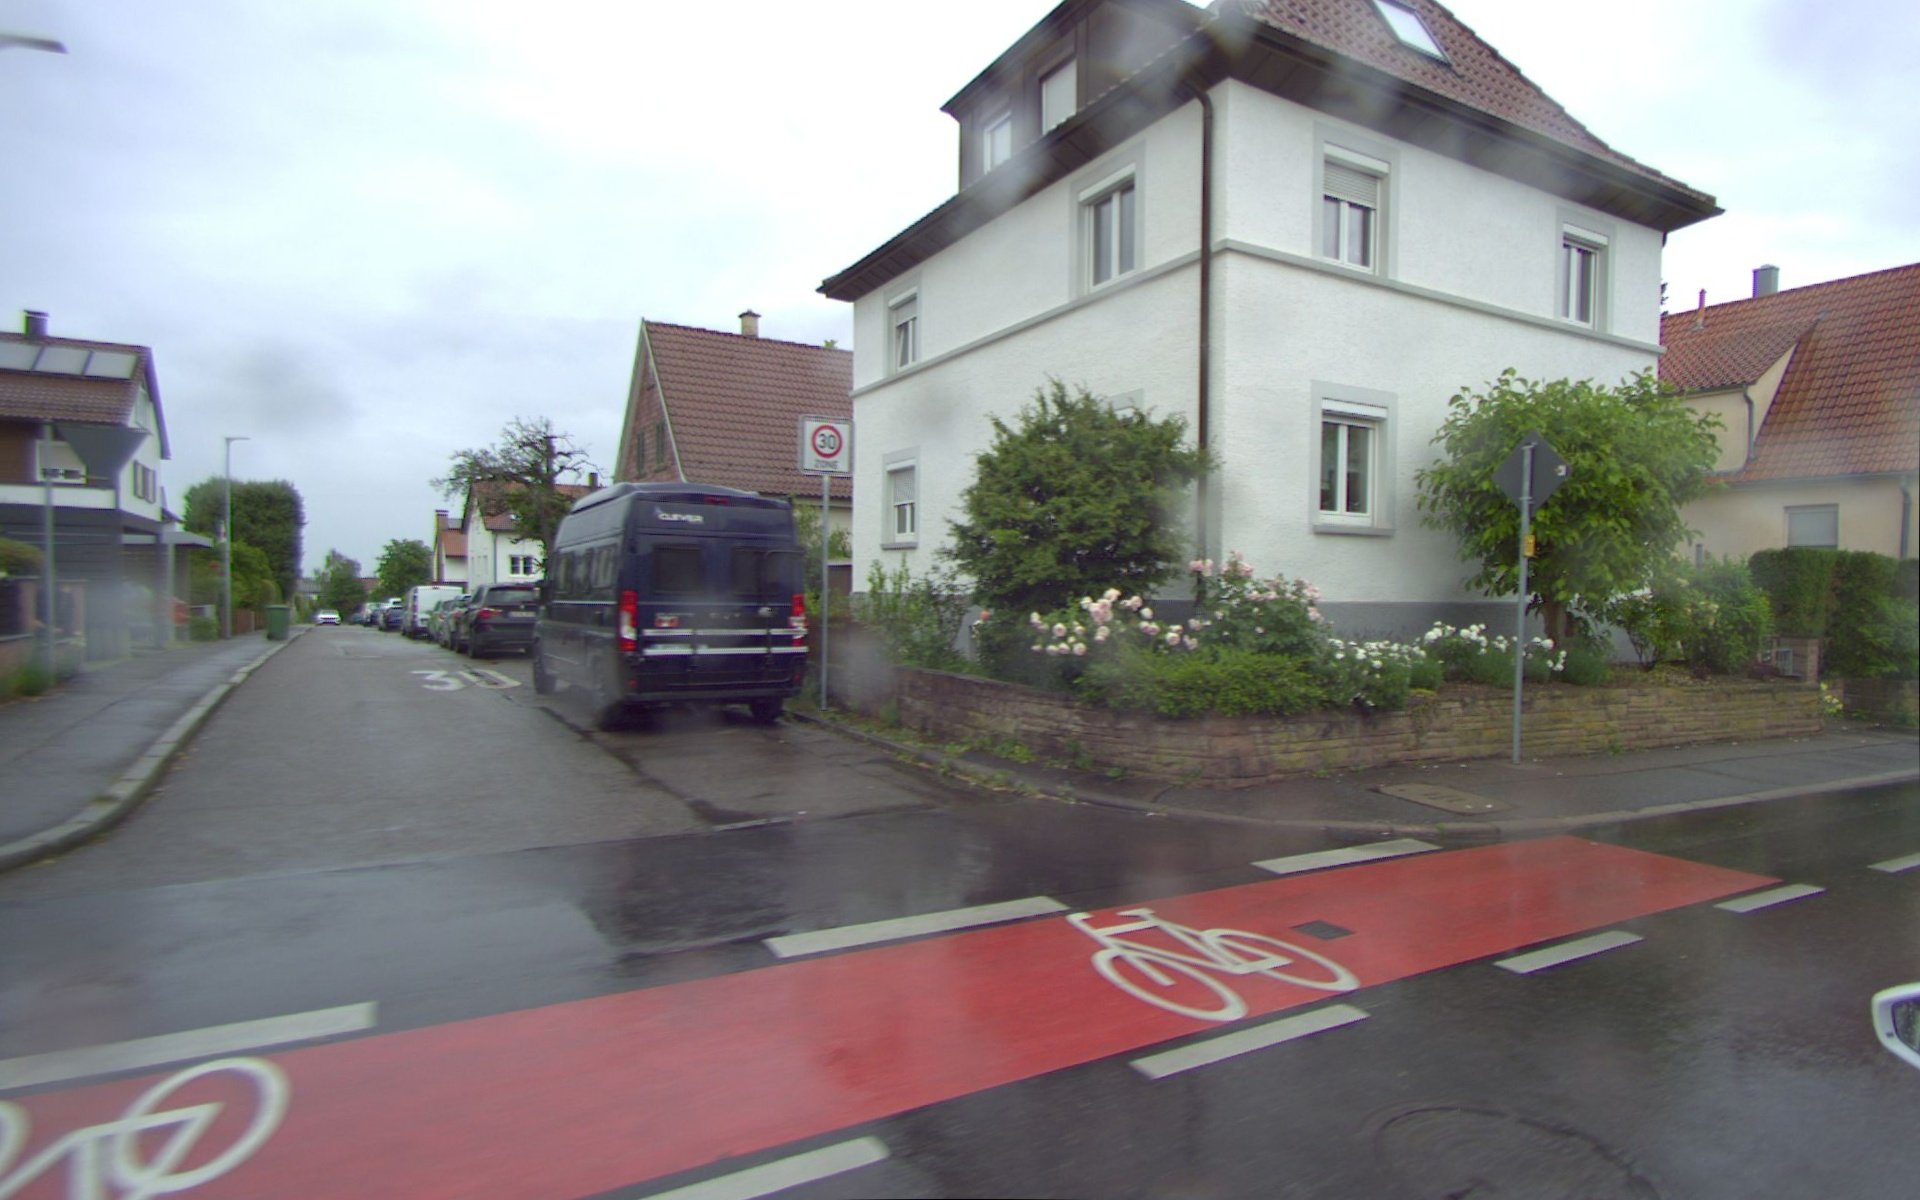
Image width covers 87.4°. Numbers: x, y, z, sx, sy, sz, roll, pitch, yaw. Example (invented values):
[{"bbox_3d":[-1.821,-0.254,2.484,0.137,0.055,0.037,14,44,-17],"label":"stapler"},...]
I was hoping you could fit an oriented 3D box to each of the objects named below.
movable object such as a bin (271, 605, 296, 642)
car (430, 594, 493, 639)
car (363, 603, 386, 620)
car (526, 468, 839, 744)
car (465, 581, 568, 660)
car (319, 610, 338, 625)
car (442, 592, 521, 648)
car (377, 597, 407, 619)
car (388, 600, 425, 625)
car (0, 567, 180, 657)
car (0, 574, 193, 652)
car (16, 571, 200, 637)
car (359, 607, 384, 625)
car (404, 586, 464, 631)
[{"bbox_3d":[-21.083,0.746,31.301,0.603,1.125,0.593,2,-2,-34],"label":"movable object such as a bin"},{"bbox_3d":[-17.066,0.530,34.320,1.655,1.436,3.550,2,-1,-31],"label":"car"},{"bbox_3d":[-49.879,0.987,85.521,1.532,1.340,3.481,2,-1,-33],"label":"car"},{"bbox_3d":[-3.721,0.028,12.519,2.266,2.641,5.395,1,1,-32],"label":"car"},{"bbox_3d":[-10.322,0.446,23.241,1.751,1.684,3.550,2,-1,-31],"label":"car"},{"bbox_3d":[-64.805,1.795,103.014,1.532,1.340,3.479,2,-1,-34],"label":"car"},{"bbox_3d":[-13.352,0.522,27.915,1.655,1.436,3.550,2,-1,-31],"label":"car"},{"bbox_3d":[-37.669,0.540,66.579,1.532,1.340,3.481,2,-1,-33],"label":"car"},{"bbox_3d":[-31.219,0.697,56.624,1.532,1.340,3.481,2,-1,-33],"label":"car"},{"bbox_3d":[-16.493,0.218,18.347,3.302,1.539,1.583,2,-1,-31],"label":"car"},{"bbox_3d":[-18.530,0.285,21.372,3.302,1.539,1.583,2,-1,-31],"label":"car"},{"bbox_3d":[-21.564,0.129,25.584,3.302,1.539,1.583,2,-1,-31],"label":"car"},{"bbox_3d":[-47.279,1.281,80.627,1.532,1.340,3.481,2,-1,-33],"label":"car"},{"bbox_3d":[-20.331,0.308,38.762,1.685,1.656,3.546,2,-1,-33],"label":"car"}]
